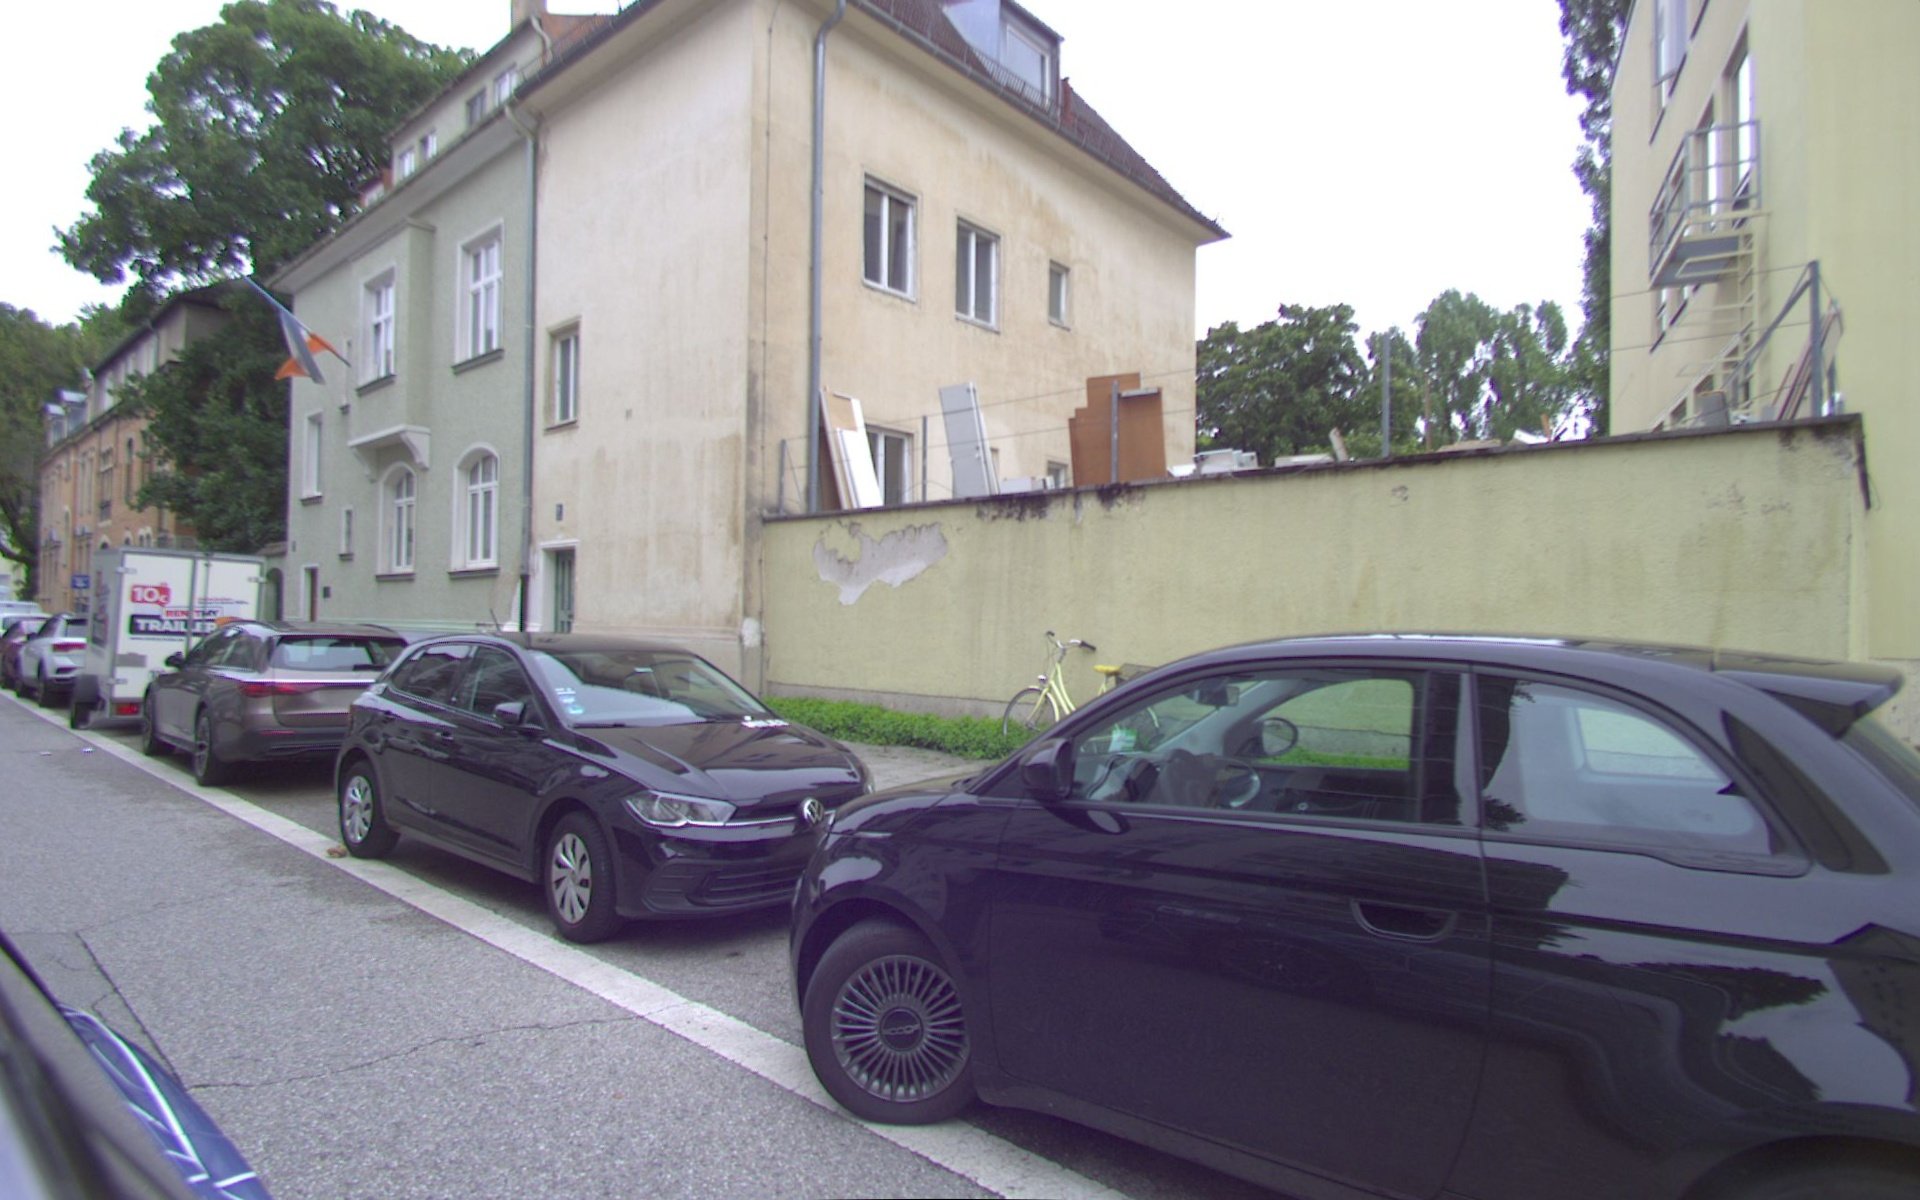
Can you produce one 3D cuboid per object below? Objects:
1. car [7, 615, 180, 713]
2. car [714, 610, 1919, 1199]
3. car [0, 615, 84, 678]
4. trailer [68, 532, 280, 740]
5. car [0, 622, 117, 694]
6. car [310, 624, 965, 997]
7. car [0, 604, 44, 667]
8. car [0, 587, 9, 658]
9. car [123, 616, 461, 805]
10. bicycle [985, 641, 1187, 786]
[{"bbox_3d":[-15.269,1.054,17.774,3.840,1.525,1.744,-1,-3,41],"label":"car"},{"bbox_3d":[1.118,0.798,2.878,3.483,1.505,1.686,-1,-2,36],"label":"car"},{"bbox_3d":[-23.375,1.115,25.171,3.925,1.463,1.795,-1,-2,40],"label":"car"},{"bbox_3d":[-11.120,0.528,14.247,1.792,2.555,3.391,7,-6,-44],"label":"trailer"},{"bbox_3d":[-19.129,1.149,21.187,3.746,1.357,1.793,-1,-2,43],"label":"car"},{"bbox_3d":[-2.087,0.899,5.955,4.065,1.436,1.676,-1,-3,39],"label":"car"},{"bbox_3d":[-27.824,0.989,29.093,3.648,1.747,1.794,-1,-2,42],"label":"car"},{"bbox_3d":[-35.479,0.792,36.007,4.549,2.451,2.076,-1,-2,43],"label":"car"},{"bbox_3d":[-7.008,0.952,10.390,4.643,1.511,1.793,-1,-3,43],"label":"car"},{"bbox_3d":[1.088,0.956,8.997,1.741,1.140,0.573,-1,-2,39],"label":"bicycle"}]
